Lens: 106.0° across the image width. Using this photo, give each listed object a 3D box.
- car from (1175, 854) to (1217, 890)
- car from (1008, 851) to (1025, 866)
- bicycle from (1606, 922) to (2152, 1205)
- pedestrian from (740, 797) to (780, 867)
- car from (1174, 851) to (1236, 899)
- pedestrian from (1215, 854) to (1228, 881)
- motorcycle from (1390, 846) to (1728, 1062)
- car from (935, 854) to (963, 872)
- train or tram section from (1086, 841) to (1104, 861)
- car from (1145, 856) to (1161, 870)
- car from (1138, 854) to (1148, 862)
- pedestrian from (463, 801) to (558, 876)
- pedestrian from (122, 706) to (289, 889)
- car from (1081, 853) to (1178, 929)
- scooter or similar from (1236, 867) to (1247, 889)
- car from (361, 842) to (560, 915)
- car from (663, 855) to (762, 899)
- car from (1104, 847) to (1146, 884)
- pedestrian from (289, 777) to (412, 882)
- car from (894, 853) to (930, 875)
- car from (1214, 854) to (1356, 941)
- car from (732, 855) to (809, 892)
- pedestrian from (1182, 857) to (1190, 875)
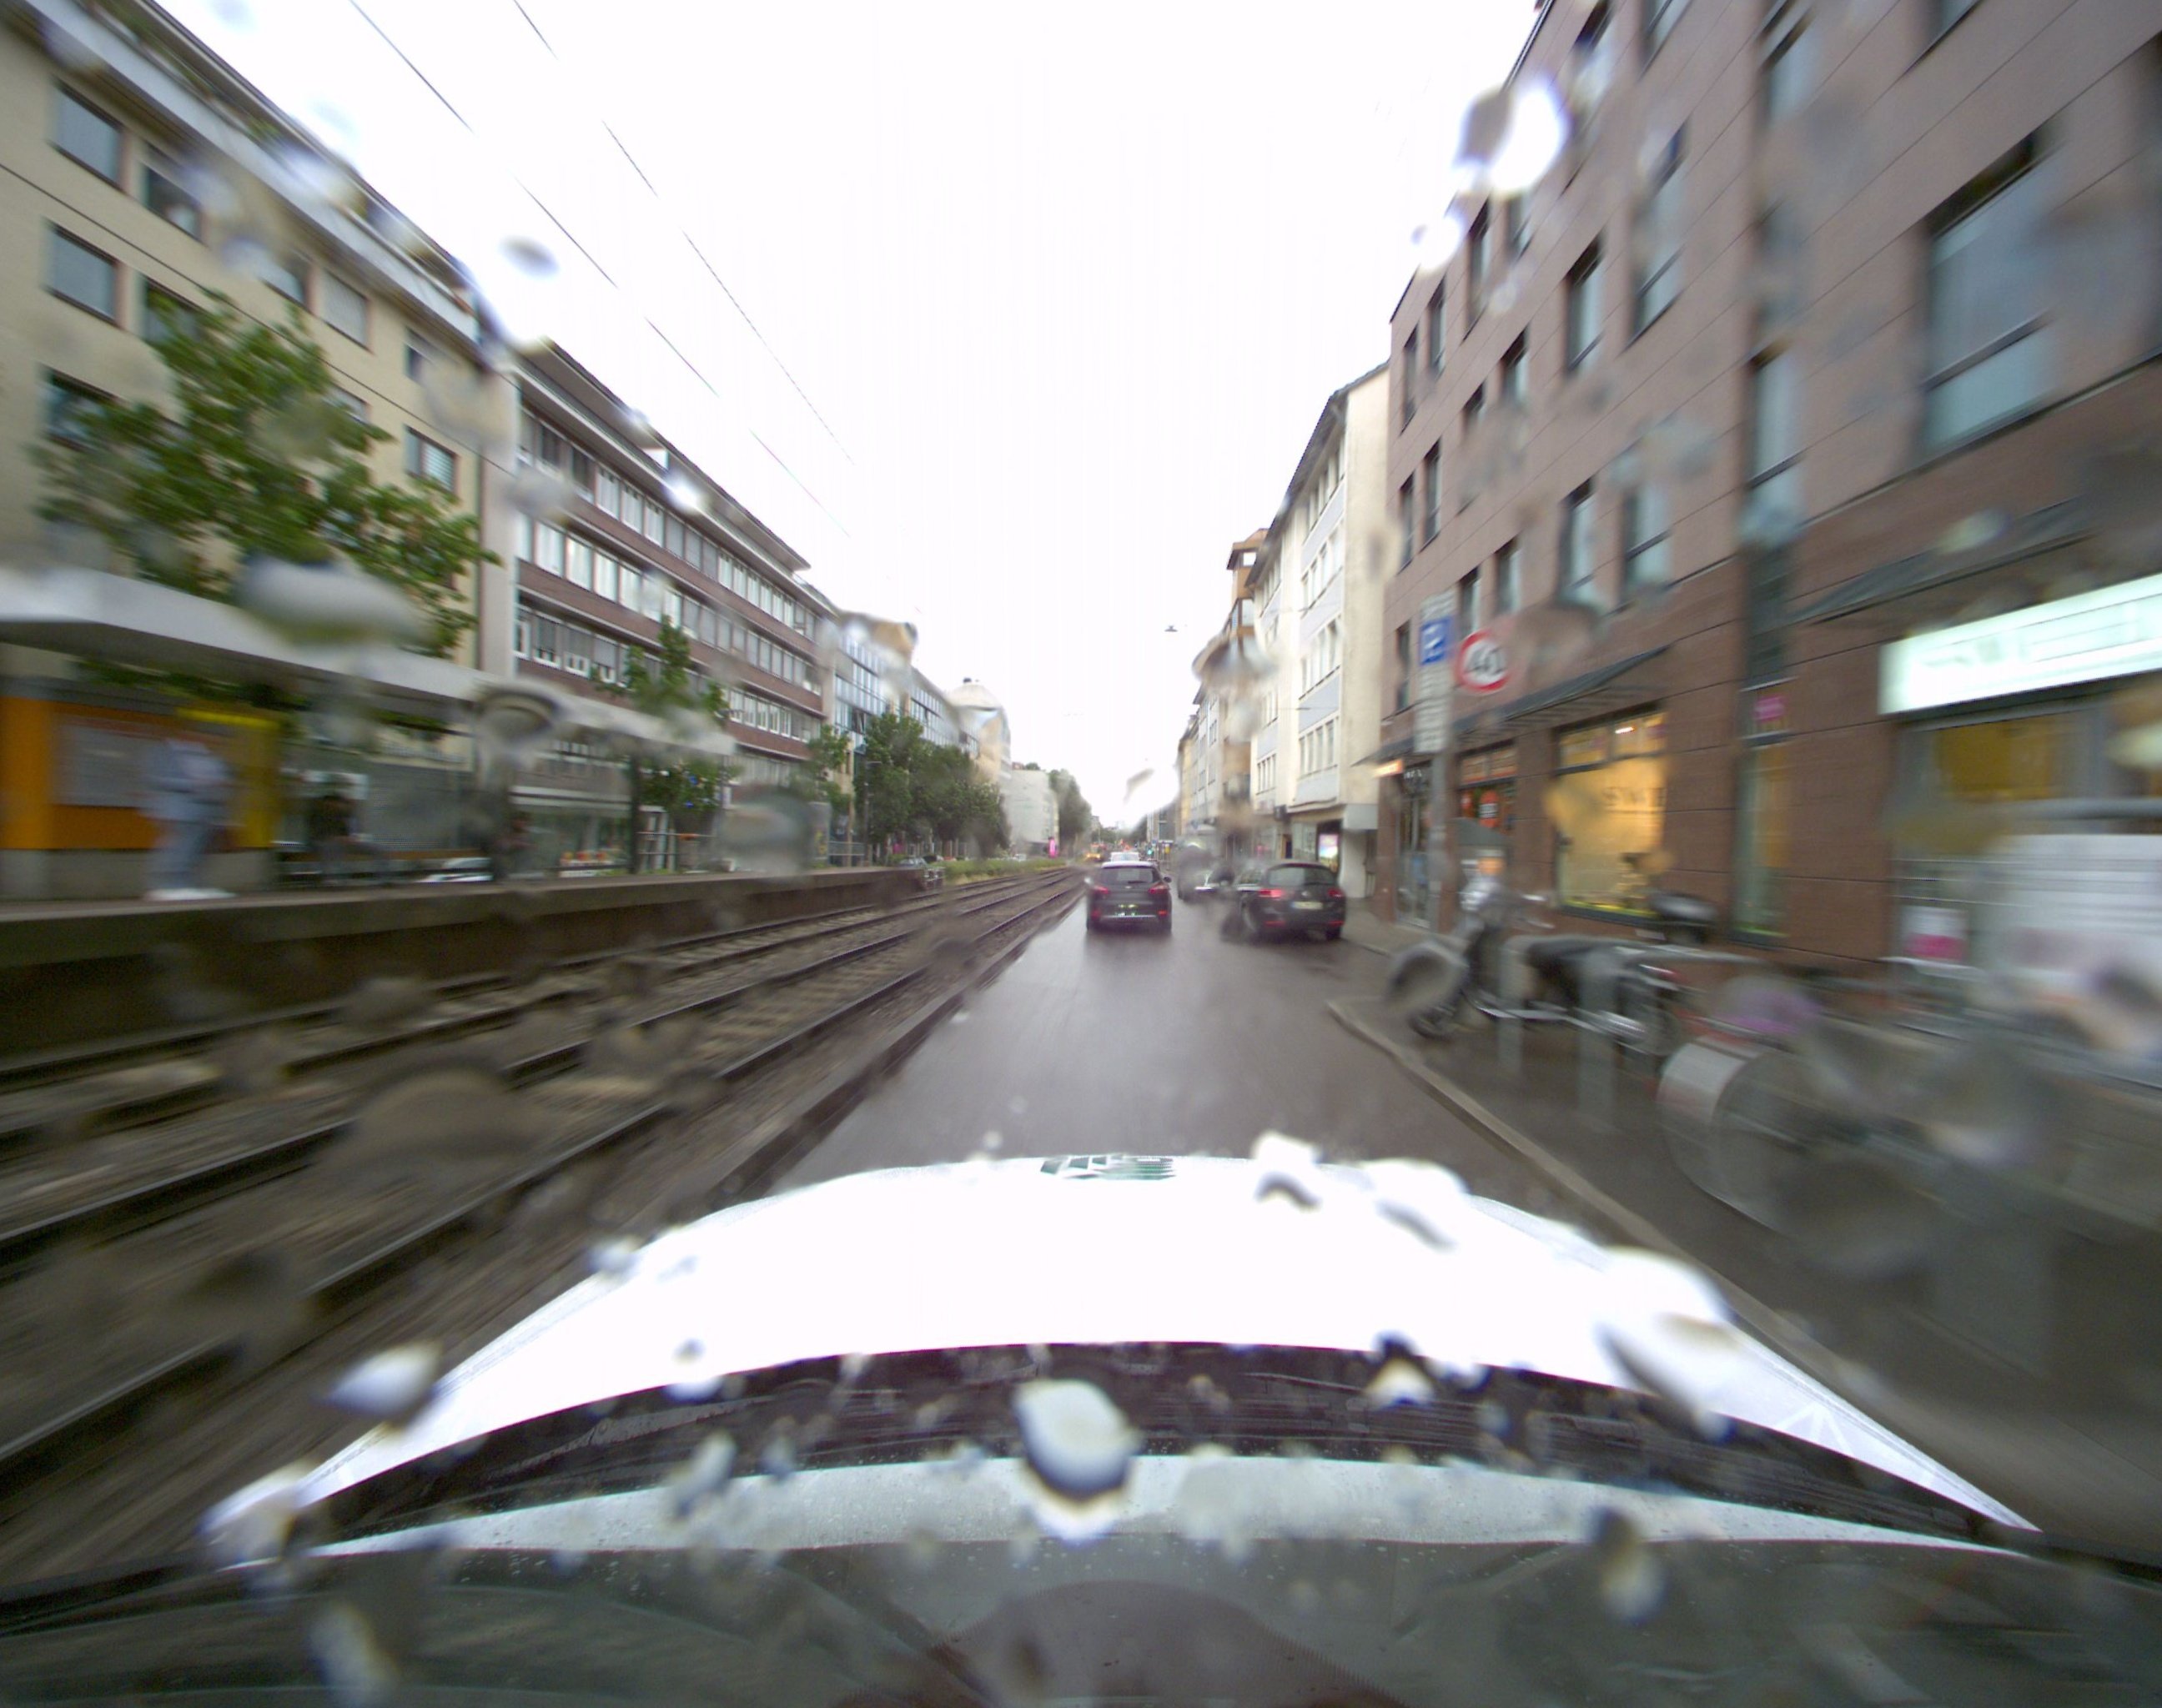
[{"bbox_3d":[5.023,0.781,35.945,1.550,1.477,3.569,1,-1,4],"label":"car"},{"bbox_3d":[-8.881,0.615,112.483,1.900,1.865,4.572,1,-1,0],"label":"car"},{"bbox_3d":[3.239,0.827,3.398,1.779,1.031,0.462,1,-2,2],"label":"bicycle"},{"bbox_3d":[-8.480,-0.561,21.537,0.653,1.802,0.850,1,-1,1],"label":"pedestrian"},{"bbox_3d":[4.598,0.779,30.867,1.800,1.631,5.172,1,-1,3],"label":"car"},{"bbox_3d":[8.635,0.847,50.021,0.692,1.652,0.966,1,-1,2],"label":"pedestrian"},{"bbox_3d":[3.423,0.662,6.092,2.066,1.407,0.803,0,-2,21],"label":"motorcycle"},{"bbox_3d":[-10.947,0.725,67.687,1.563,1.436,4.177,1,-1,0],"label":"car"},{"bbox_3d":[2.845,-0.490,163.873,3.501,3.777,11.331,1,-1,1],"label":"train or tram section"},{"bbox_3d":[9.041,1.156,102.296,1.898,1.633,4.578,1,-1,4],"label":"car"},{"bbox_3d":[12.566,0.835,164.765,1.898,1.633,4.578,1,-1,4],"label":"car"},{"bbox_3d":[-8.904,-0.223,12.752,0.891,1.123,0.848,1,-1,-8],"label":"pedestrian"},{"bbox_3d":[-8.628,-0.527,8.069,0.653,1.711,0.850,1,-1,1],"label":"pedestrian"},{"bbox_3d":[1.071,0.778,17.841,1.898,1.462,3.448,1,-1,4],"label":"car"},{"bbox_3d":[8.046,1.198,40.760,0.209,1.083,1.231,1,-1,-5],"label":"scooter or similar"},{"bbox_3d":[-13.756,0.524,18.369,1.563,1.436,3.735,1,-1,0],"label":"car"},{"bbox_3d":[-13.163,0.803,29.377,1.563,1.436,4.237,1,-1,0],"label":"car"},{"bbox_3d":[2.461,0.663,44.468,1.896,1.865,4.582,1,-1,7],"label":"car"},{"bbox_3d":[-9.127,-0.291,10.214,0.690,1.249,0.884,1,-1,1],"label":"pedestrian"},{"bbox_3d":[-11.634,0.728,56.190,1.563,1.436,4.177,1,-1,0],"label":"car"},{"bbox_3d":[3.885,0.777,16.309,1.768,1.468,4.609,1,-1,1],"label":"car"},{"bbox_3d":[-12.927,0.807,34.145,1.563,1.436,4.177,1,-1,0],"label":"car"},{"bbox_3d":[9.224,1.029,71.625,0.609,1.538,0.649,1,-1,2],"label":"pedestrian"}]
